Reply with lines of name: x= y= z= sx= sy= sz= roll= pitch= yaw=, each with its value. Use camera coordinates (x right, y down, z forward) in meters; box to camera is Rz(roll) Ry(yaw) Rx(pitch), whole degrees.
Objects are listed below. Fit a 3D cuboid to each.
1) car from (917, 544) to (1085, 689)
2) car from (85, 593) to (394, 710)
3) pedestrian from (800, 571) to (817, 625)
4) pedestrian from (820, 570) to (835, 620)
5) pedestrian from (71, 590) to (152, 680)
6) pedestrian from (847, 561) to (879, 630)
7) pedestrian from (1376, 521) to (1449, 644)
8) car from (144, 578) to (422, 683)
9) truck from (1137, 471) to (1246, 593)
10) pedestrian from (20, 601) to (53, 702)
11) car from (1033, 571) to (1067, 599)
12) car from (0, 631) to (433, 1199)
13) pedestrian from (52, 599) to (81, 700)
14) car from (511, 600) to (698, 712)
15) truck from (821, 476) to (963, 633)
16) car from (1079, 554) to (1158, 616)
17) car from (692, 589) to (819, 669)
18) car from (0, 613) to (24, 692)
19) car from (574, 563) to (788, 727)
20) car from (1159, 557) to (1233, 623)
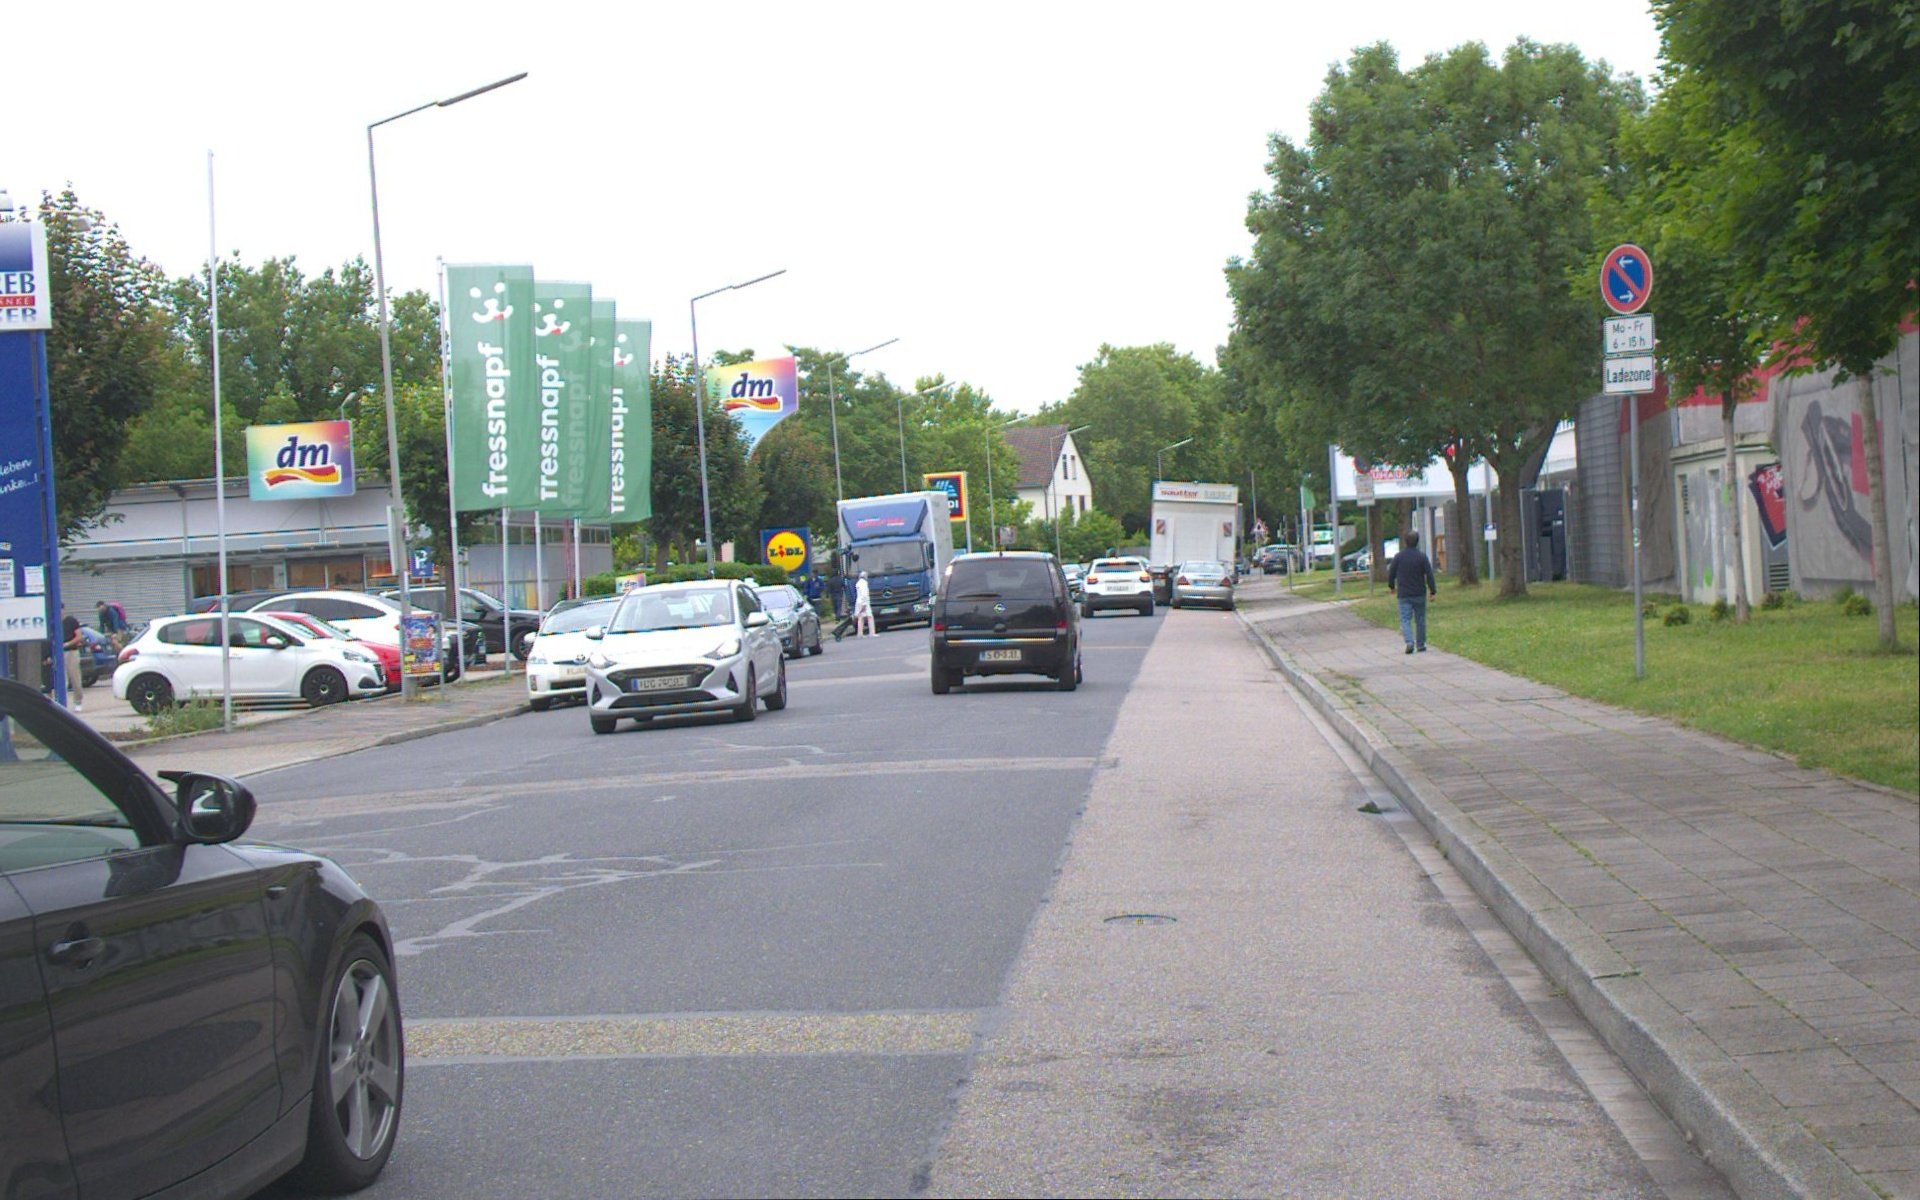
car: x=0.526 y=0.155 z=40.512 sx=1.681 sy=1.626 sz=3.758 roll=0 pitch=1 yaw=5
car: x=-10.718 y=0.758 z=51.394 sx=4.202 sy=1.458 sz=1.953 roll=-3 pitch=1 yaw=-3
pedestrian: x=-4.359 y=-0.063 z=99.166 sx=0.401 sy=1.526 sz=0.485 roll=-3 pitch=0 yaw=-2
pedestrian: x=-4.148 y=-0.158 z=107.766 sx=0.401 sy=1.526 sz=0.485 roll=-3 pitch=0 yaw=-2
pedestrian: x=-19.926 y=0.822 z=80.714 sx=1.383 sy=2.007 sz=1.210 roll=-4 pitch=1 yaw=-36
pedestrian: x=-2.348 y=-0.108 z=83.281 sx=0.631 sy=1.631 sz=0.668 roll=-3 pitch=0 yaw=3
pedestrian: x=6.156 y=-0.237 z=46.773 sx=0.919 sy=1.629 sz=0.852 roll=-1 pitch=0 yaw=6
car: x=-11.040 y=0.479 z=56.257 sx=4.135 sy=1.458 sz=1.899 roll=-3 pitch=0 yaw=-1
truck: x=7.188 y=-2.055 z=107.888 sx=3.135 sy=3.572 sz=10.049 roll=-1 pitch=0 yaw=3
pedestrian: x=-14.603 y=0.805 z=54.366 sx=0.359 sy=1.565 sz=0.504 roll=-3 pitch=0 yaw=-7
car: x=4.623 y=-0.752 z=176.137 sx=1.542 sy=1.361 sz=3.427 roll=-1 pitch=0 yaw=4
car: x=-2.454 y=0.806 z=6.616 sx=1.746 sy=1.354 sz=4.137 roll=-3 pitch=0 yaw=7
pedestrian: x=-14.029 y=0.770 z=53.976 sx=0.330 sy=1.565 sz=0.504 roll=-2 pitch=0 yaw=-7
car: x=-4.988 y=0.760 z=48.717 sx=1.898 sy=1.362 sz=4.000 roll=-3 pitch=1 yaw=4
truck: x=-1.785 y=-1.242 z=93.967 sx=2.974 sy=3.942 sz=6.404 roll=-4 pitch=0 yaw=5
car: x=4.140 y=-0.410 z=89.408 sx=1.887 sy=1.526 sz=4.253 roll=-1 pitch=1 yaw=5
car: x=-3.926 y=0.542 z=66.605 sx=1.898 sy=1.362 sz=4.000 roll=-3 pitch=1 yaw=4
car: x=-20.234 y=1.108 z=65.904 sx=3.987 sy=1.487 sz=1.786 roll=-3 pitch=0 yaw=5
car: x=-2.891 y=0.445 z=36.317 sx=1.599 sy=1.523 sz=3.527 roll=-4 pitch=0 yaw=5
car: x=6.749 y=-0.292 z=98.745 sx=1.994 sy=1.800 sz=4.000 roll=-1 pitch=0 yaw=3
